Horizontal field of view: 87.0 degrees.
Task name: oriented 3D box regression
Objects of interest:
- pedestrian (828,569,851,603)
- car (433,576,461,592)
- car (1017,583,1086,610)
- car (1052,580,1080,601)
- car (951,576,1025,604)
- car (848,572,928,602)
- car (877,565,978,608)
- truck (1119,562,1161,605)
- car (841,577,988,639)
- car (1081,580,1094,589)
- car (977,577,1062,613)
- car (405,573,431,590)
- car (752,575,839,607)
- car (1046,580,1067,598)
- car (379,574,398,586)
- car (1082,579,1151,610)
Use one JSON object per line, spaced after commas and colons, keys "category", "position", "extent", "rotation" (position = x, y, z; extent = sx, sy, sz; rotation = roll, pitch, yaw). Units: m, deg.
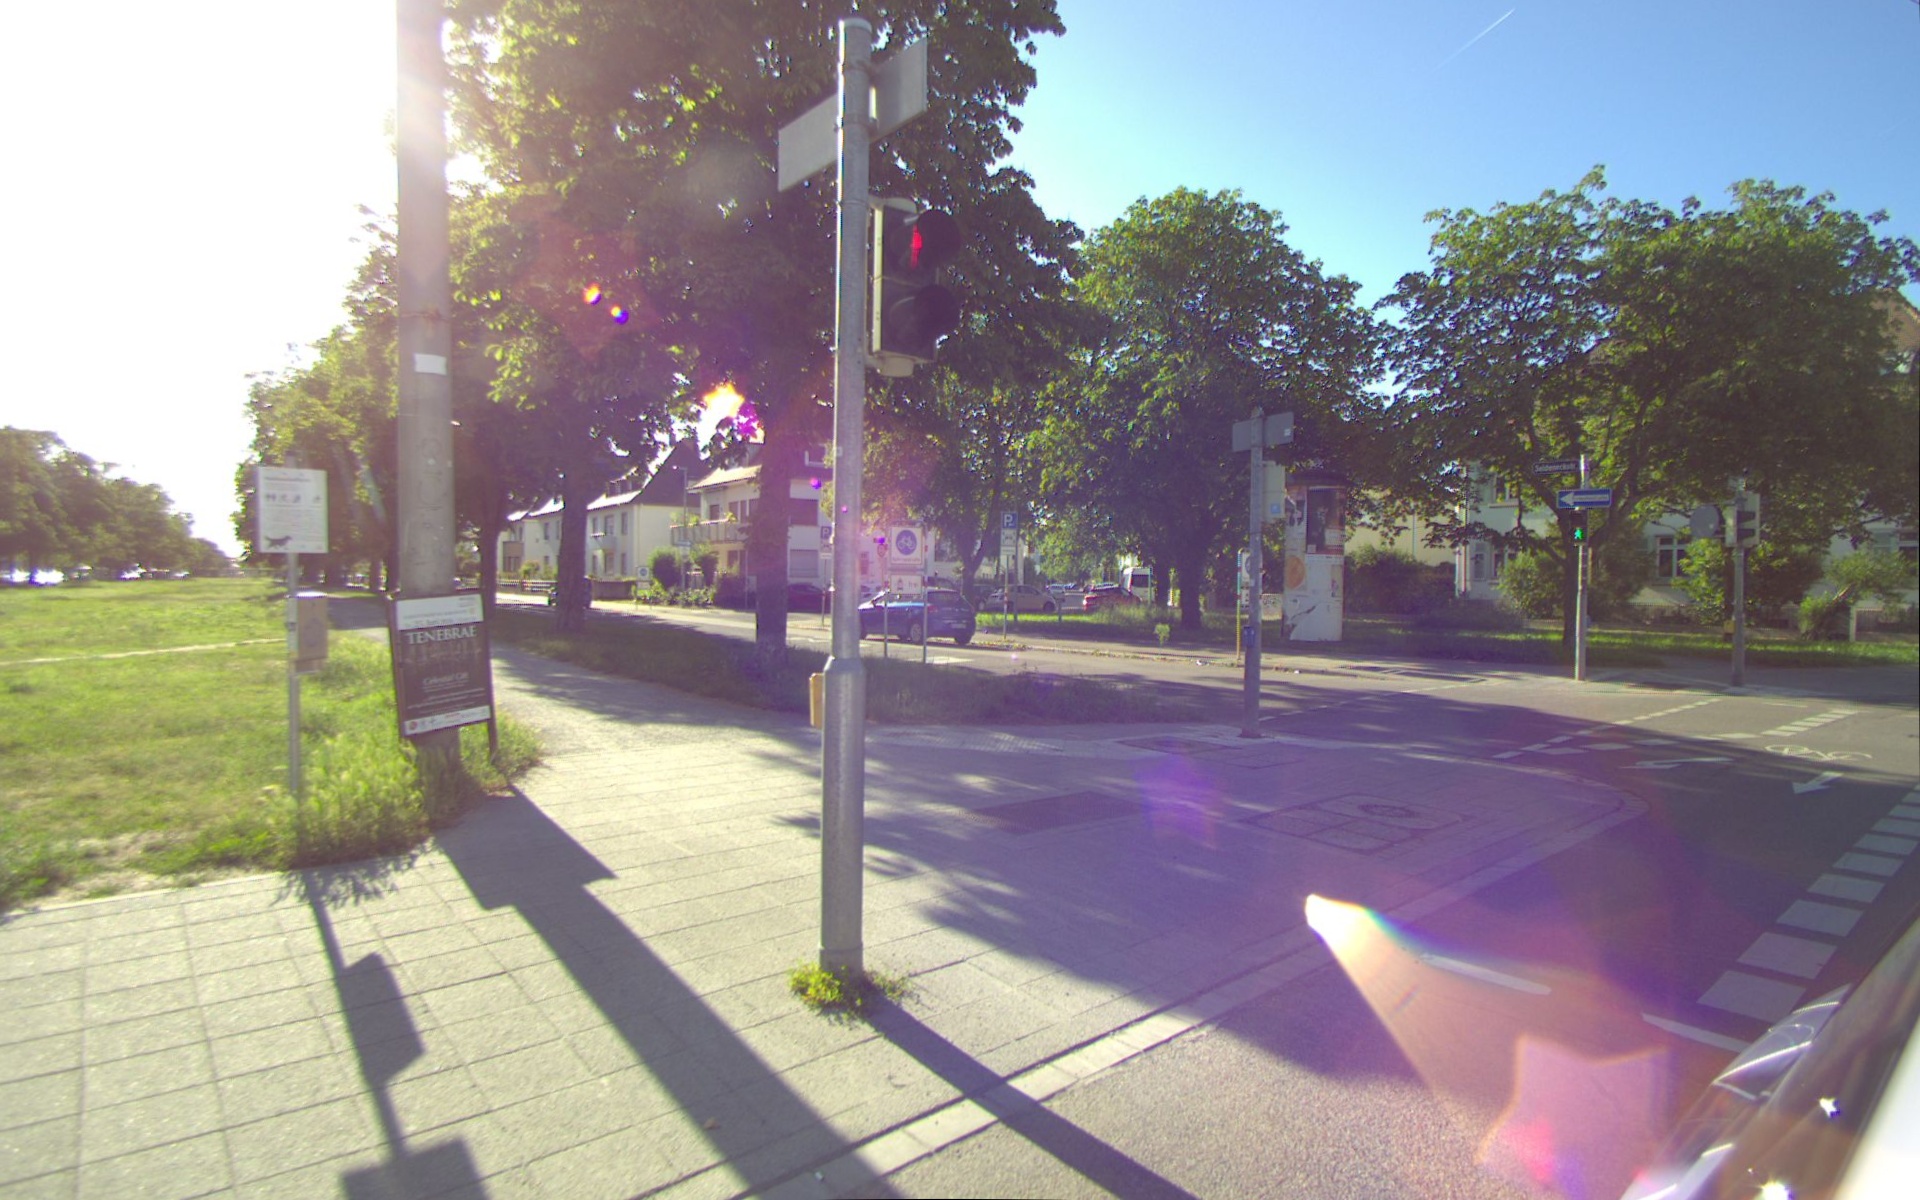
{"category": "pedestrian", "position": [-6.541, -0.749, 55.007], "extent": [0.882, 1.792, 1.026], "rotation": [0, -1, -32]}
{"category": "car", "position": [-46.956, -1.487, 92.612], "extent": [1.791, 1.451, 4.000], "rotation": [0, 1, -35]}
{"category": "car", "position": [5.365, -0.200, 59.364], "extent": [3.823, 1.489, 1.759], "rotation": [0, 1, -36]}
{"category": "car", "position": [8.101, -0.755, 76.959], "extent": [1.732, 1.489, 3.883], "rotation": [1, 1, 12]}
{"category": "car", "position": [1.581, -0.574, 56.505], "extent": [3.821, 1.489, 1.760], "rotation": [0, 1, -34]}
{"category": "car", "position": [-3.764, -0.691, 52.973], "extent": [3.823, 1.489, 1.759], "rotation": [0, 1, -36]}
{"category": "car", "position": [-1.472, -0.613, 46.191], "extent": [4.258, 1.858, 1.924], "rotation": [0, 1, -34]}
{"category": "truck", "position": [11.568, -1.085, 65.304], "extent": [1.963, 2.608, 4.978], "rotation": [0, 1, 3]}
{"category": "car", "position": [-1.253, 0.164, 26.447], "extent": [1.784, 1.451, 3.996], "rotation": [1, 1, -39]}
{"category": "car", "position": [20.428, -2.488, 161.977], "extent": [1.727, 1.489, 3.893], "rotation": [1, 1, 3]}
{"category": "car", "position": [2.872, -0.270, 49.116], "extent": [3.638, 1.668, 1.926], "rotation": [0, 1, -29]}
{"category": "car", "position": [-55.598, -1.913, 103.787], "extent": [1.791, 1.624, 4.000], "rotation": [0, 1, -35]}
{"category": "car", "position": [-8.030, -0.437, 49.478], "extent": [3.823, 1.489, 1.759], "rotation": [0, 1, -36]}
{"category": "car", "position": [8.618, -0.992, 90.364], "extent": [1.729, 1.489, 3.888], "rotation": [1, 1, 8]}
{"category": "car", "position": [-75.897, -2.678, 134.446], "extent": [1.791, 1.451, 4.000], "rotation": [0, 1, -35]}
{"category": "car", "position": [8.227, -0.271, 53.115], "extent": [1.600, 1.554, 4.219], "rotation": [1, 0, 40]}
